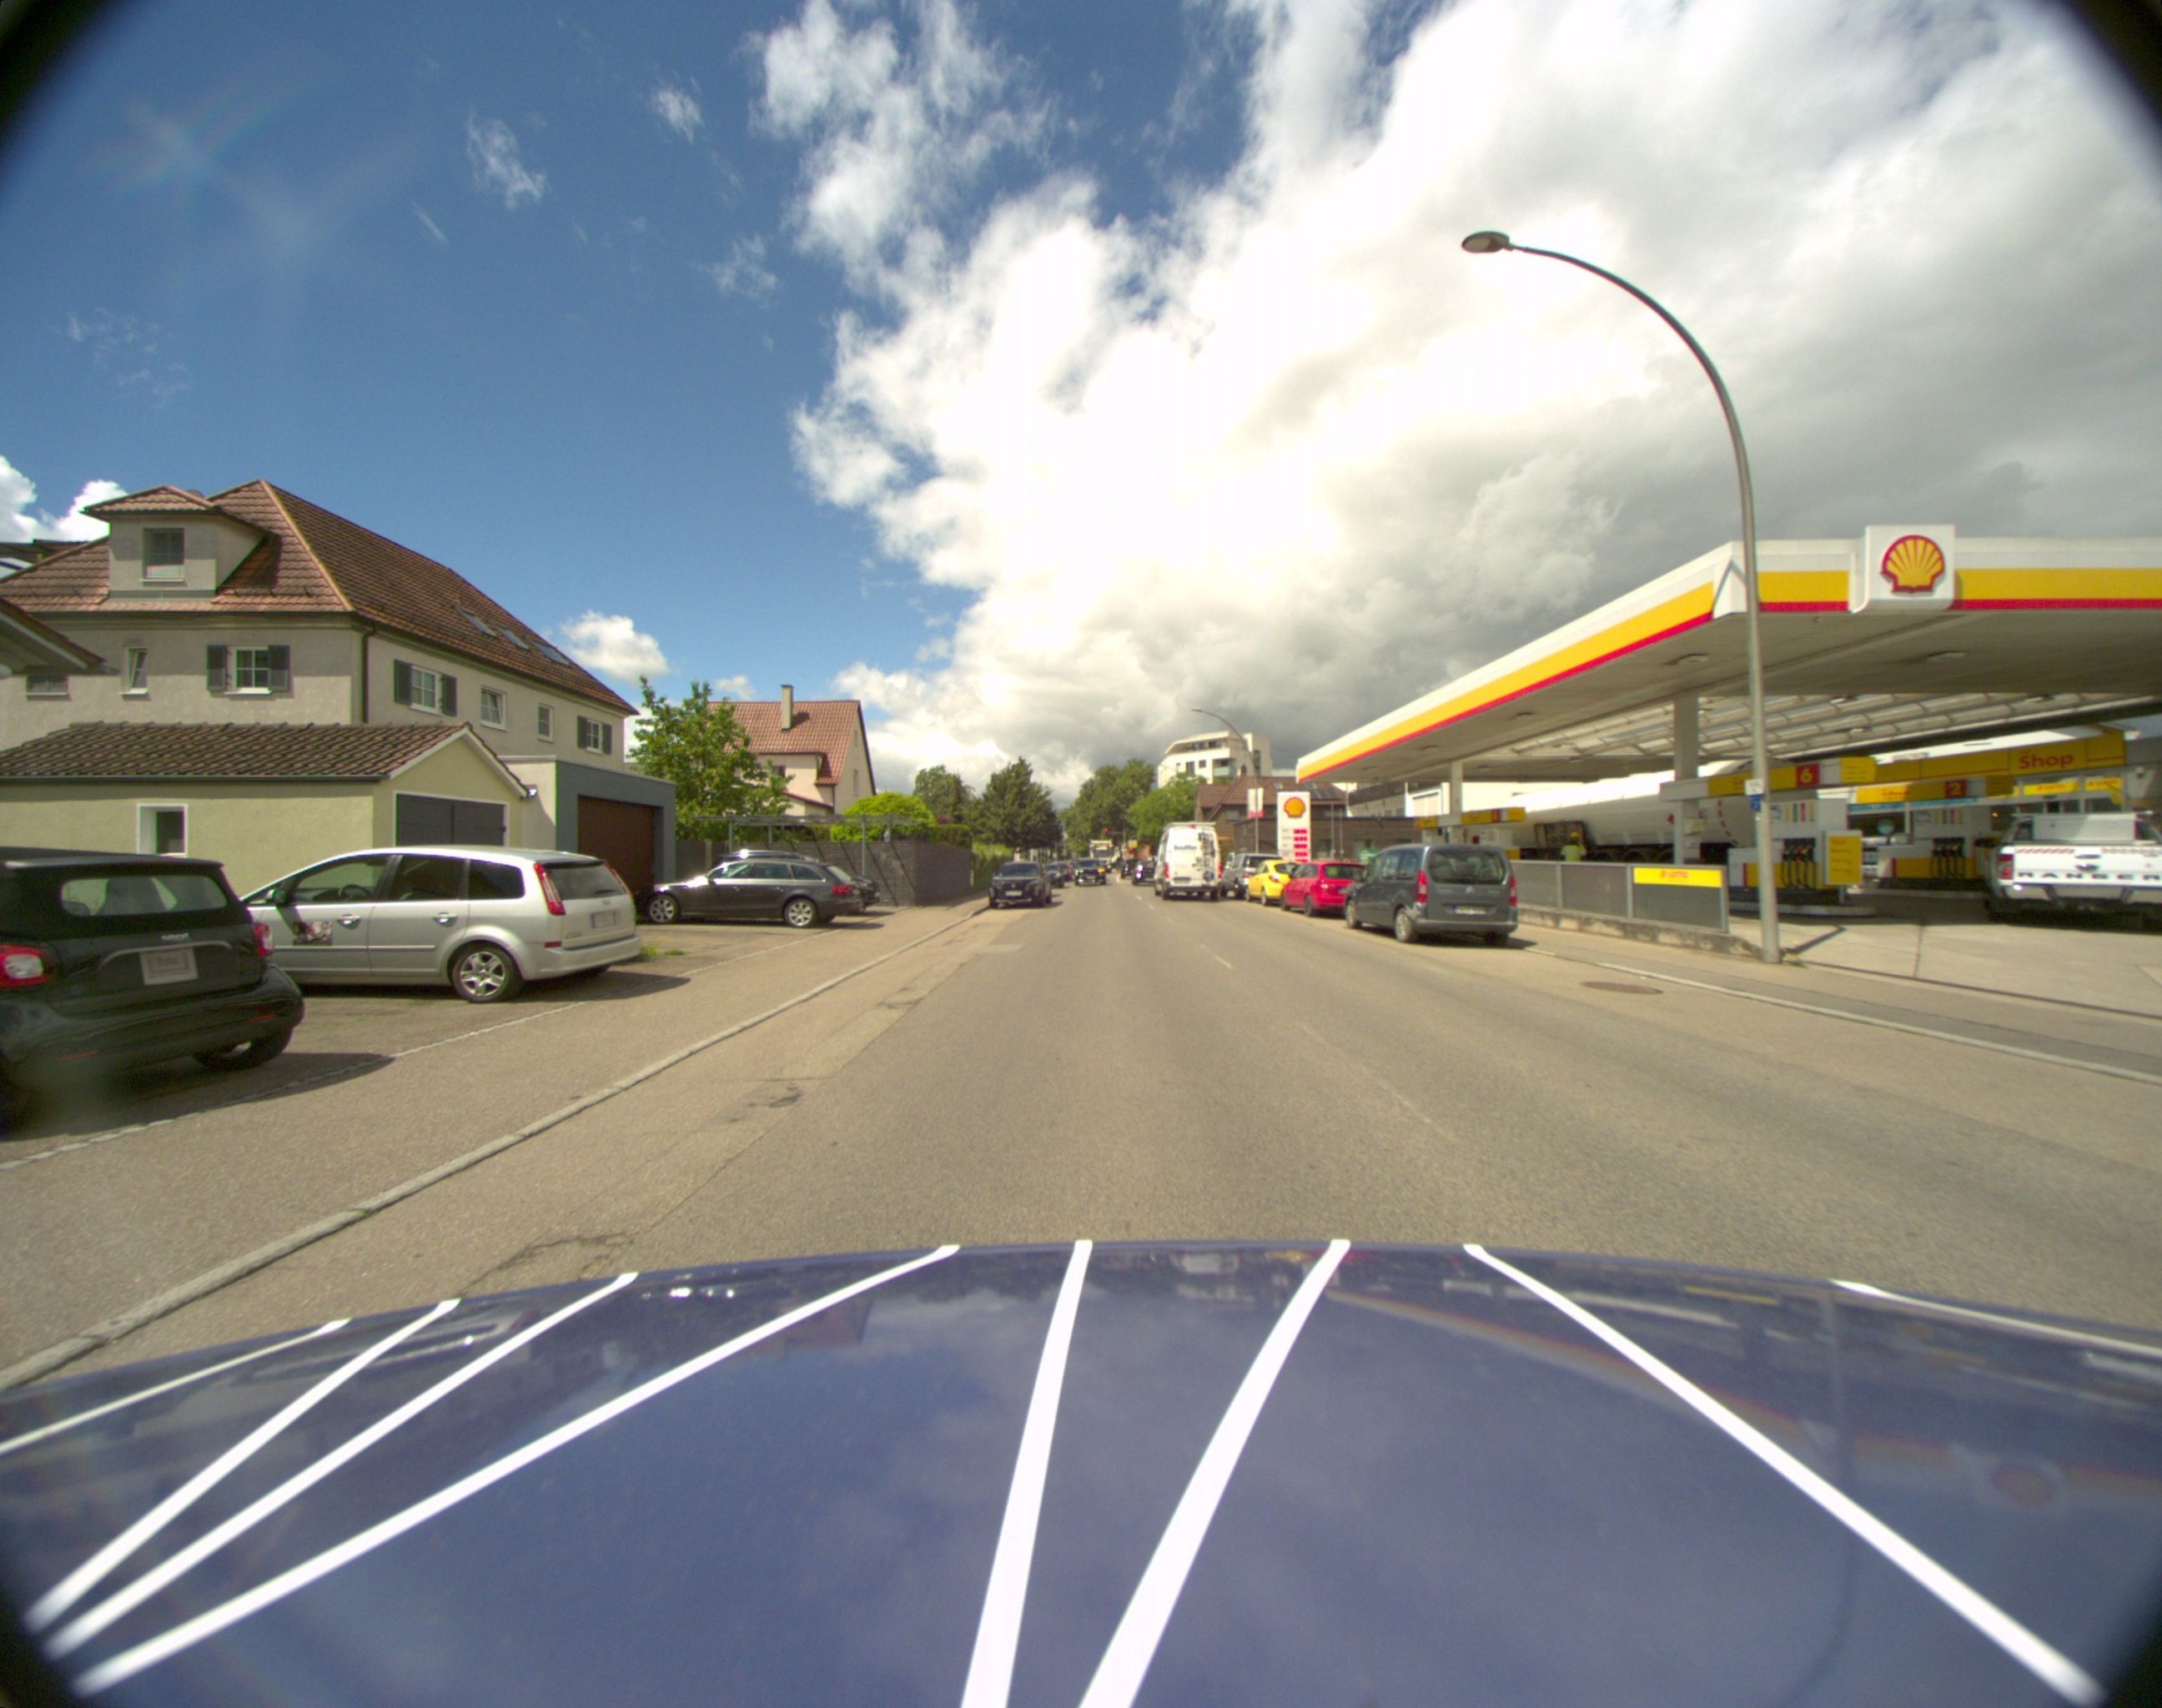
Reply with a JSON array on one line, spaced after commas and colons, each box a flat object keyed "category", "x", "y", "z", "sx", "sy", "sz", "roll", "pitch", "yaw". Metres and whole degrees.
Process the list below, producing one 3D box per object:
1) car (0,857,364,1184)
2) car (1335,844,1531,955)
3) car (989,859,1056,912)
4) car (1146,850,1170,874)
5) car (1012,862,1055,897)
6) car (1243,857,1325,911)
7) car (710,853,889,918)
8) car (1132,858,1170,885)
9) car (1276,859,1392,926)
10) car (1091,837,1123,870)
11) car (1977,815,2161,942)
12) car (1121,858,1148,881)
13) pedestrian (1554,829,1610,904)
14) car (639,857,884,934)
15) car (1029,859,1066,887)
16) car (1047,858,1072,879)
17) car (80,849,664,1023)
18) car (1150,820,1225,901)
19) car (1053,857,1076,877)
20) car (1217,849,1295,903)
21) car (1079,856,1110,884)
[{"category": "car", "x": -6.836, "y": 0.828, "z": 4.675, "sx": 2.895, "sy": 1.516, "sz": 1.974, "roll": 2, "pitch": 0, "yaw": -2}, {"category": "car", "x": 6.435, "y": 0.742, "z": 14.467, "sx": 1.733, "sy": 1.727, "sz": 4.190, "roll": 3, "pitch": 0, "yaw": 1}, {"category": "car", "x": -1.916, "y": 1.006, "z": 25.938, "sx": 1.789, "sy": 1.548, "sz": 4.316, "roll": -2, "pitch": 0, "yaw": 2}, {"category": "car", "x": 7.390, "y": 0.820, "z": 73.329, "sx": 1.789, "sy": 2.166, "sz": 4.536, "roll": -2, "pitch": -2, "yaw": 1}, {"category": "car", "x": -2.049, "y": 1.077, "z": 33.732, "sx": 1.576, "sy": 1.423, "sz": 3.549, "roll": 0, "pitch": 0, "yaw": 2}, {"category": "car", "x": 6.561, "y": 0.917, "z": 24.962, "sx": 1.666, "sy": 1.506, "sz": 3.945, "roll": 3, "pitch": 0, "yaw": 2}, {"category": "car", "x": -7.244, "y": 0.798, "z": 19.859, "sx": 4.014, "sy": 1.605, "sz": 1.854, "roll": 0, "pitch": 0, "yaw": -2}, {"category": "car", "x": 4.056, "y": 1.003, "z": 44.644, "sx": 1.852, "sy": 1.465, "sz": 3.981, "roll": 0, "pitch": 0, "yaw": 1}, {"category": "car", "x": 6.642, "y": 0.938, "z": 20.422, "sx": 1.667, "sy": 1.506, "sz": 4.190, "roll": 3, "pitch": 0, "yaw": 1}, {"category": "car", "x": 2.959, "y": -0.120, "z": 90.119, "sx": 3.263, "sy": 3.596, "sz": 10.267, "roll": -2, "pitch": 0, "yaw": -1}, {"category": "car", "x": 17.071, "y": 0.326, "z": 13.151, "sx": 4.993, "sy": 1.842, "sz": 1.970, "roll": -1, "pitch": 1, "yaw": -41}, {"category": "car", "x": 4.309, "y": 1.216, "z": 61.798, "sx": 2.063, "sy": 1.700, "sz": 4.535, "roll": -1, "pitch": 0, "yaw": 3}, {"category": "pedestrian", "x": 14.916, "y": 0.368, "z": 22.655, "sx": 0.940, "sy": 2.166, "sz": 1.011, "roll": -3, "pitch": 1, "yaw": 0}, {"category": "car", "x": -6.748, "y": 0.850, "z": 16.456, "sx": 4.419, "sy": 1.399, "sz": 1.974, "roll": 2, "pitch": 0, "yaw": -2}, {"category": "car", "x": -1.820, "y": 1.053, "z": 42.796, "sx": 1.789, "sy": 1.435, "sz": 3.772, "roll": -2, "pitch": 0, "yaw": 2}, {"category": "car", "x": -1.648, "y": 1.103, "z": 59.579, "sx": 1.789, "sy": 1.555, "sz": 3.879, "roll": -2, "pitch": 0, "yaw": 1}, {"category": "car", "x": -7.358, "y": 0.801, "z": 8.327, "sx": 4.419, "sy": 1.516, "sz": 1.974, "roll": 2, "pitch": 0, "yaw": -2}, {"category": "car", "x": 3.934, "y": 0.231, "z": 29.141, "sx": 1.997, "sy": 2.749, "sz": 6.164, "roll": 1, "pitch": 0, "yaw": 1}, {"category": "car", "x": -1.366, "y": 1.051, "z": 64.562, "sx": 1.789, "sy": 1.555, "sz": 3.879, "roll": -2, "pitch": 0, "yaw": 1}, {"category": "car", "x": 6.687, "y": 0.789, "z": 29.518, "sx": 1.789, "sy": 1.857, "sz": 4.315, "roll": 3, "pitch": 0, "yaw": -2}, {"category": "car", "x": 0.822, "y": 0.955, "z": 46.105, "sx": 1.789, "sy": 1.555, "sz": 3.879, "roll": -2, "pitch": 0, "yaw": 1}]
